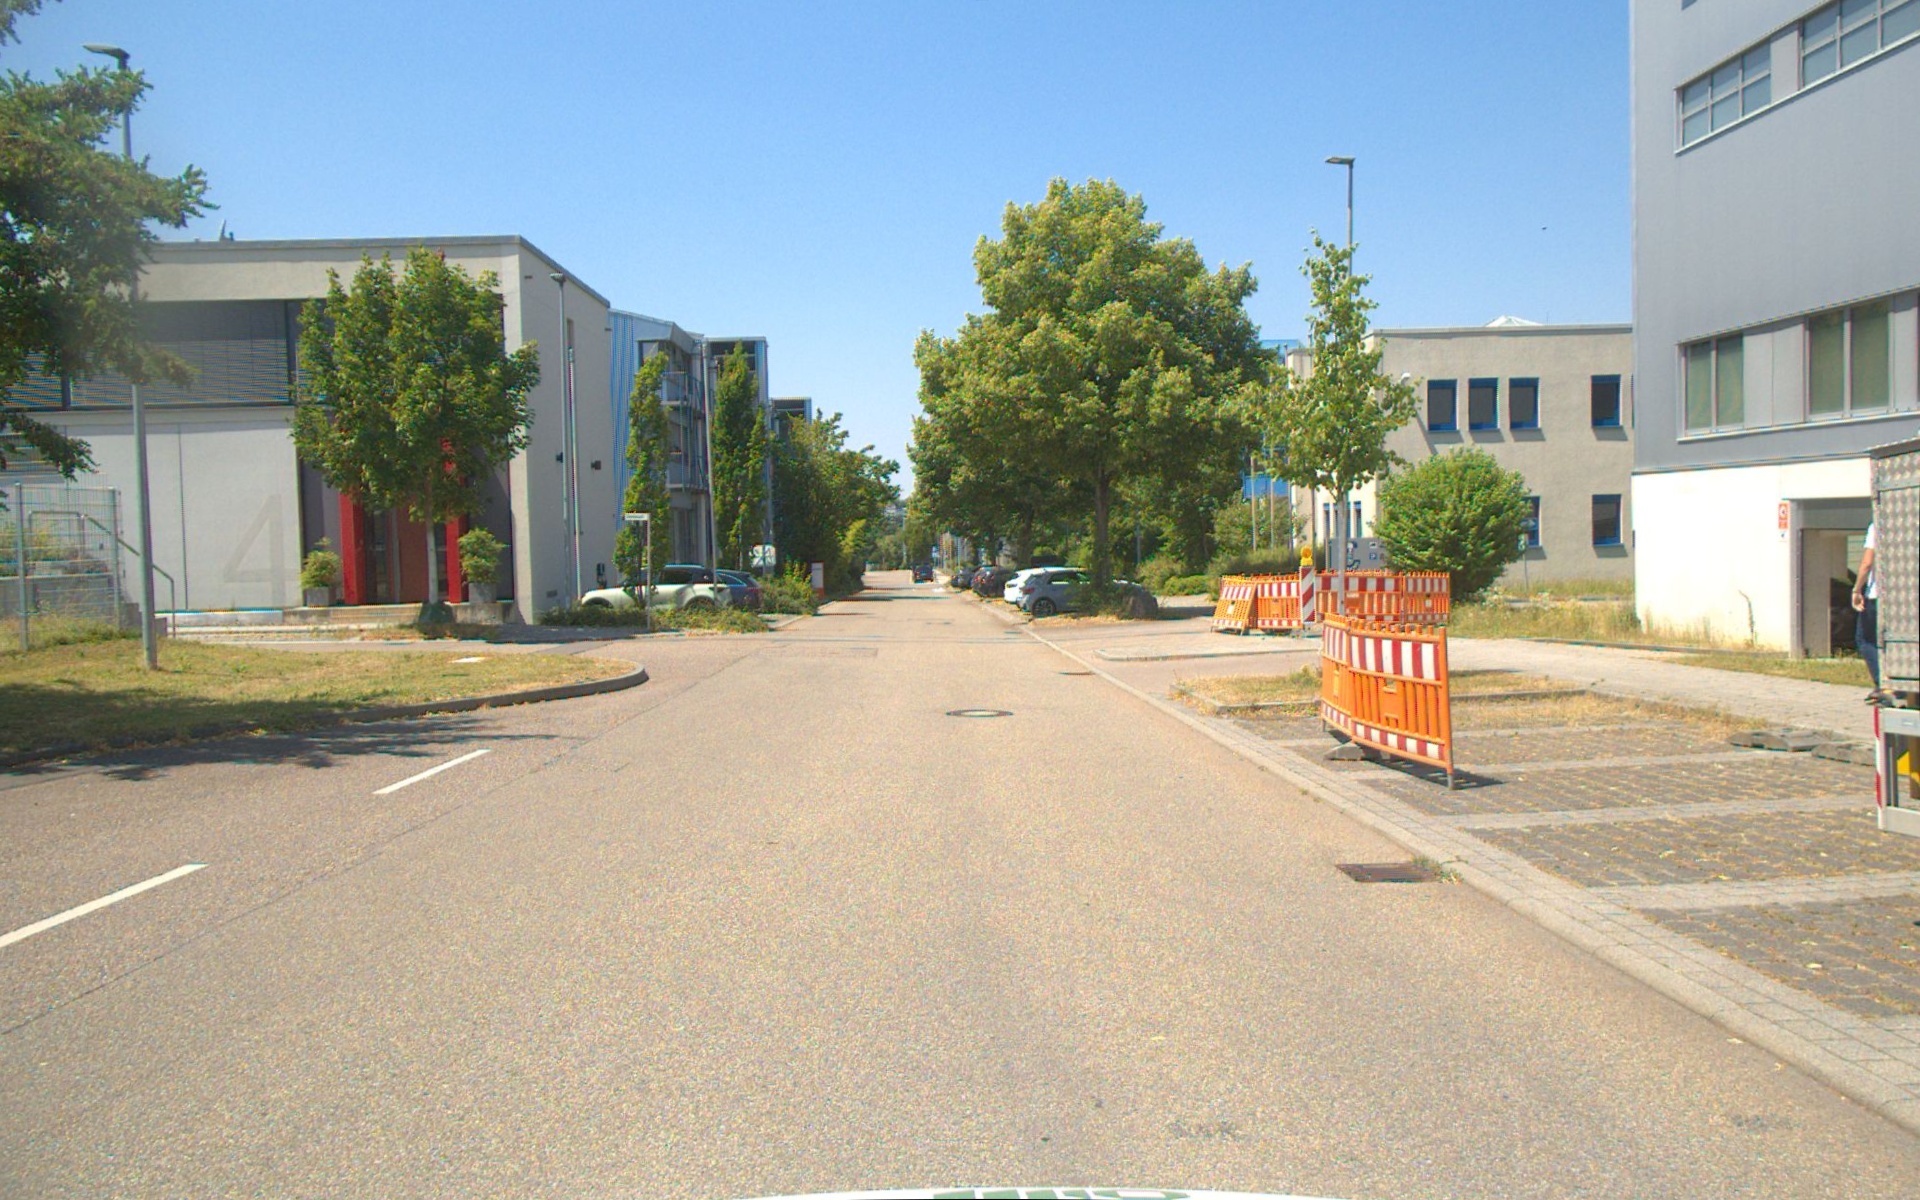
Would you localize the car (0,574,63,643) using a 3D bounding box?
[{"bbox_3d":[-23.021,0.194,37.903,3.919,1.432,1.657,-1,4,-1],"label":"car"}]

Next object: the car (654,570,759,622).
[{"bbox_3d":[-7.430,-0.127,48.588,3.001,1.504,1.290,0,1,-9],"label":"car"}]

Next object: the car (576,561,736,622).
[{"bbox_3d":[-7.993,-0.237,43.767,3.966,1.521,1.727,-1,1,-4],"label":"car"}]

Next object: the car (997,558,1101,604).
[{"bbox_3d":[3.164,-0.688,59.076,3.450,1.377,1.536,-4,1,-6],"label":"car"}]

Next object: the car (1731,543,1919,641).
[{"bbox_3d":[16.266,-0.204,31.038,1.788,1.477,4.003,-2,4,1],"label":"car"}]

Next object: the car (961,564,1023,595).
[{"bbox_3d":[2.113,-1.339,108.842,3.859,1.866,1.764,-1,4,-10],"label":"car"}]

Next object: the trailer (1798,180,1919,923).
[{"bbox_3d":[5.235,-0.214,4.536,2.605,2.906,5.514,-3,1,-5],"label":"trailer"}]

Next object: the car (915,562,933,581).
[{"bbox_3d":[-3.469,-2.726,159.824,1.725,1.786,3.944,-1,1,-1],"label":"car"}]

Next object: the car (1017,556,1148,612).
[{"bbox_3d":[3.631,-0.488,49.298,3.609,1.377,1.643,-4,1,-6],"label":"car"}]

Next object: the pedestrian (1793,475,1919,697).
[{"bbox_3d":[8.385,-0.151,15.038,0.849,1.922,1.209,-2,2,-17],"label":"pedestrian"}]

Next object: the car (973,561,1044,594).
[{"bbox_3d":[2.533,-1.185,86.908,3.647,1.655,1.813,-1,1,-2],"label":"car"}]

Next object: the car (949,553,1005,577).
[{"bbox_3d":[1.217,-2.590,121.032,3.859,1.604,1.764,-1,4,-10],"label":"car"}]

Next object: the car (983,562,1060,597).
[{"bbox_3d":[3.024,-1.002,81.469,3.647,1.655,1.813,-1,1,-2],"label":"car"}]

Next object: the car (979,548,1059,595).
[{"bbox_3d":[2.758,-1.363,78.186,3.647,2.147,1.813,-1,1,-2],"label":"car"}]
